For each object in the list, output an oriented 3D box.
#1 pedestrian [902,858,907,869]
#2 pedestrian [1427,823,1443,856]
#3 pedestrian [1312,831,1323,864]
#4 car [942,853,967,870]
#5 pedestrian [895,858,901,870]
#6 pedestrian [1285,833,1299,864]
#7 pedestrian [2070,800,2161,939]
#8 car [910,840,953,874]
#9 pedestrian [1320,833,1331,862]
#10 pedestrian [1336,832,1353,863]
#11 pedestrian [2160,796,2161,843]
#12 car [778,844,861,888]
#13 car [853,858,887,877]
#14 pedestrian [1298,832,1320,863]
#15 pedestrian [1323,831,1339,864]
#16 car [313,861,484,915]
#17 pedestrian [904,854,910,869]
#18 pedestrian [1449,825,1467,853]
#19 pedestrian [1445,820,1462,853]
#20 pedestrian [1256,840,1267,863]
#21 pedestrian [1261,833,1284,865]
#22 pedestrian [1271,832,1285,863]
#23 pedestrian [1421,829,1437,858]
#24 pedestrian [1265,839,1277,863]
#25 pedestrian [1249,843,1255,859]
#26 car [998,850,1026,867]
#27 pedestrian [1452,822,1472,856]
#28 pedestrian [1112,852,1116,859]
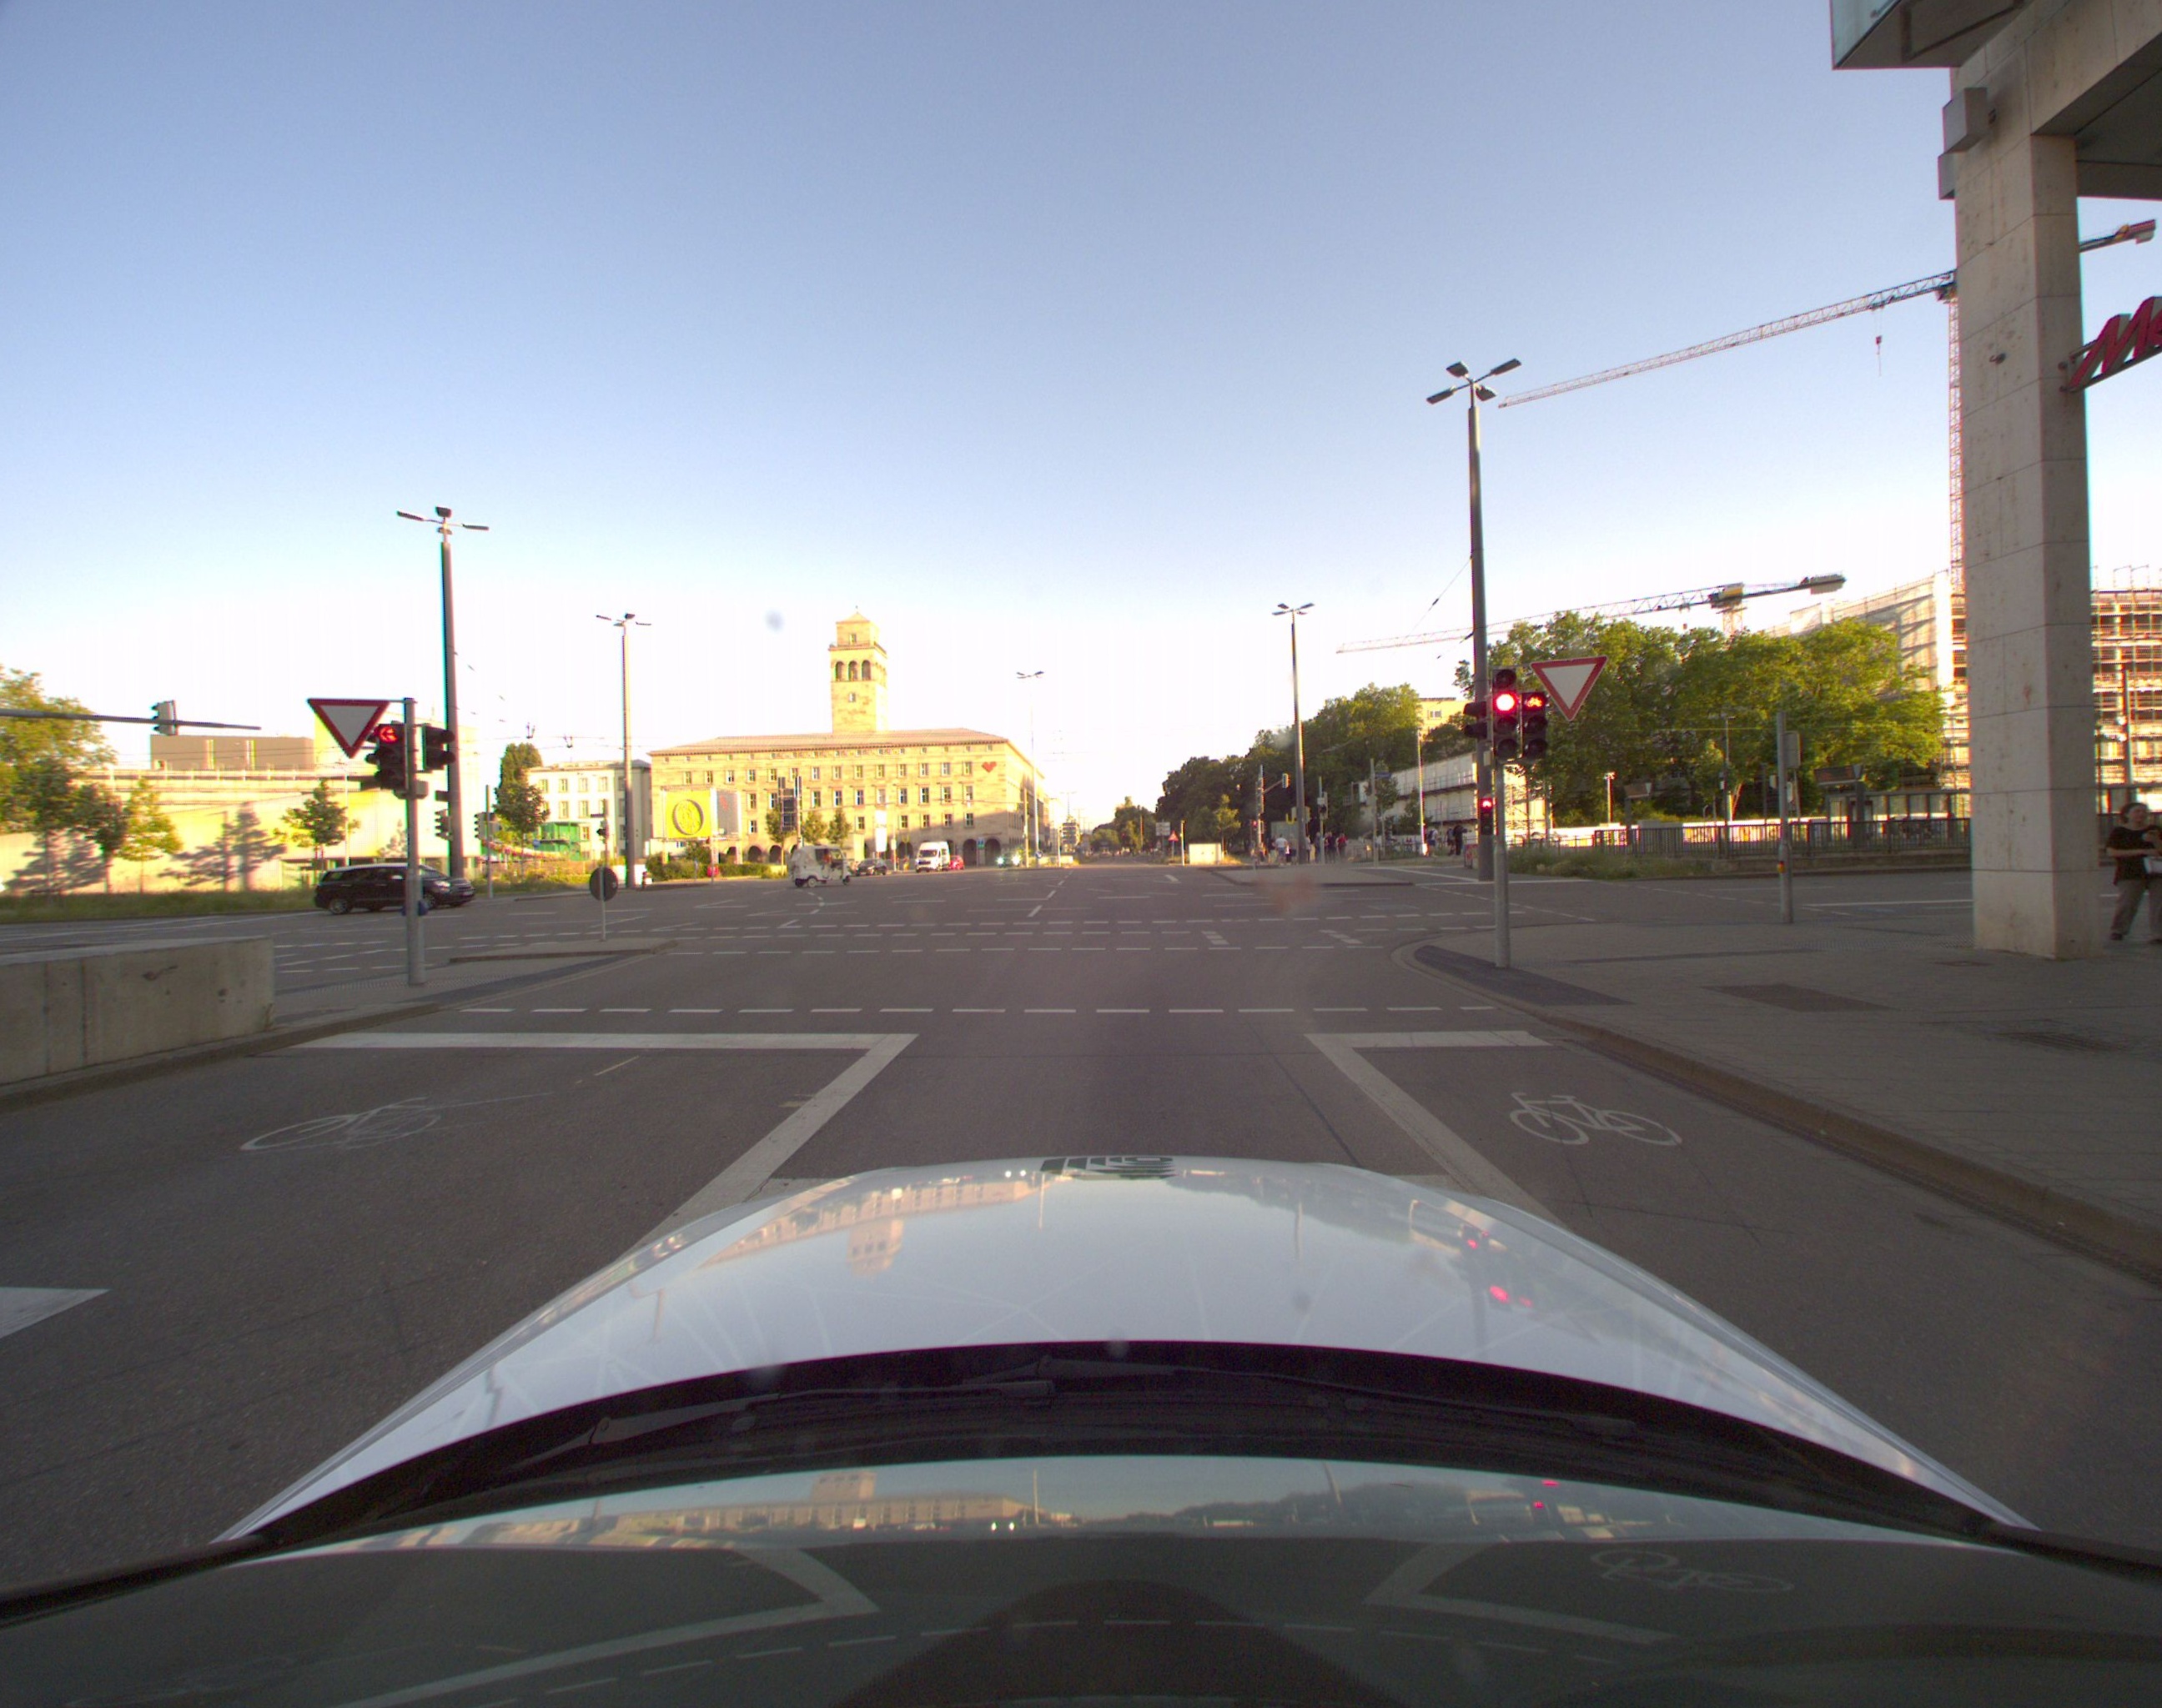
[{"bbox_3d":[-20.269,1.112,93.513,0.420,1.300,0.459,0,-1,-3],"label":"pedestrian"},{"bbox_3d":[19.038,-0.767,43.787,0.661,1.725,0.716,-2,0,15],"label":"pedestrian"},{"bbox_3d":[13.215,-0.359,45.508,0.568,1.791,0.641,-2,1,16],"label":"pedestrian"},{"bbox_3d":[-12.641,0.715,81.665,1.732,1.487,4.002,-2,1,2],"label":"car"},{"bbox_3d":[-21.108,1.137,93.870,0.504,1.300,0.700,0,-1,-3],"label":"pedestrian"},{"bbox_3d":[11.830,-0.306,45.654,0.705,1.725,0.671,-2,1,15],"label":"pedestrian"},{"bbox_3d":[12.914,0.171,9.941,0.787,1.638,0.708,-2,0,2],"label":"pedestrian"},{"bbox_3d":[-13.287,0.236,72.980,2.269,2.776,6.090,-2,0,4],"label":"car"},{"bbox_3d":[14.114,-0.367,46.953,0.568,1.678,0.641,-2,1,16],"label":"pedestrian"},{"bbox_3d":[14.808,-0.371,45.801,0.838,1.734,0.708,-2,1,14],"label":"pedestrian"},{"bbox_3d":[46.171,-1.469,34.340,0.573,2.013,0.568,-2,0,-2],"label":"pedestrian"},{"bbox_3d":[-11.157,0.493,34.868,1.469,1.696,2.992,-2,0,42],"label":"car"},{"bbox_3d":[-18.310,1.115,70.896,1.817,1.466,4.158,-2,1,0],"label":"car"},{"bbox_3d":[12.962,-0.397,46.383,0.916,1.725,0.707,-2,1,-24],"label":"pedestrian"},{"bbox_3d":[13.935,-0.365,45.462,0.799,1.791,0.804,-2,1,16],"label":"pedestrian"},{"bbox_3d":[-23.210,1.133,27.841,4.118,1.604,1.740,-2,0,-8],"label":"car"},{"bbox_3d":[-20.267,0.925,95.012,0.620,1.744,0.459,0,-1,-4],"label":"pedestrian"},{"bbox_3d":[20.256,-0.804,43.814,0.672,1.441,0.716,-2,0,9],"label":"pedestrian"},{"bbox_3d":[19.750,-0.923,43.208,0.705,1.725,0.672,-2,0,19],"label":"pedestrian"},{"bbox_3d":[13.405,-0.178,60.449,0.555,1.654,0.907,-2,1,22],"label":"pedestrian"},{"bbox_3d":[10.586,-0.299,45.018,0.917,1.725,0.707,-2,1,-26],"label":"pedestrian"},{"bbox_3d":[11.096,-0.355,45.842,0.706,1.725,0.671,-2,1,14],"label":"pedestrian"},{"bbox_3d":[19.086,-0.582,44.677,0.569,1.592,0.537,-2,0,1],"label":"pedestrian"},{"bbox_3d":[14.061,-0.237,60.377,0.673,1.757,0.907,-2,1,22],"label":"pedestrian"},{"bbox_3d":[19.215,-0.331,91.667,0.638,1.760,0.526,-2,1,10],"label":"pedestrian"},{"bbox_3d":[-6.167,0.396,72.957,1.815,1.341,4.005,-2,1,4],"label":"car"},{"bbox_3d":[19.794,-0.762,42.298,0.664,1.725,0.713,-2,0,-2],"label":"pedestrian"},{"bbox_3d":[7.912,0.268,195.099,0.903,1.671,1.307,-2,1,1],"label":"pedestrian"}]
